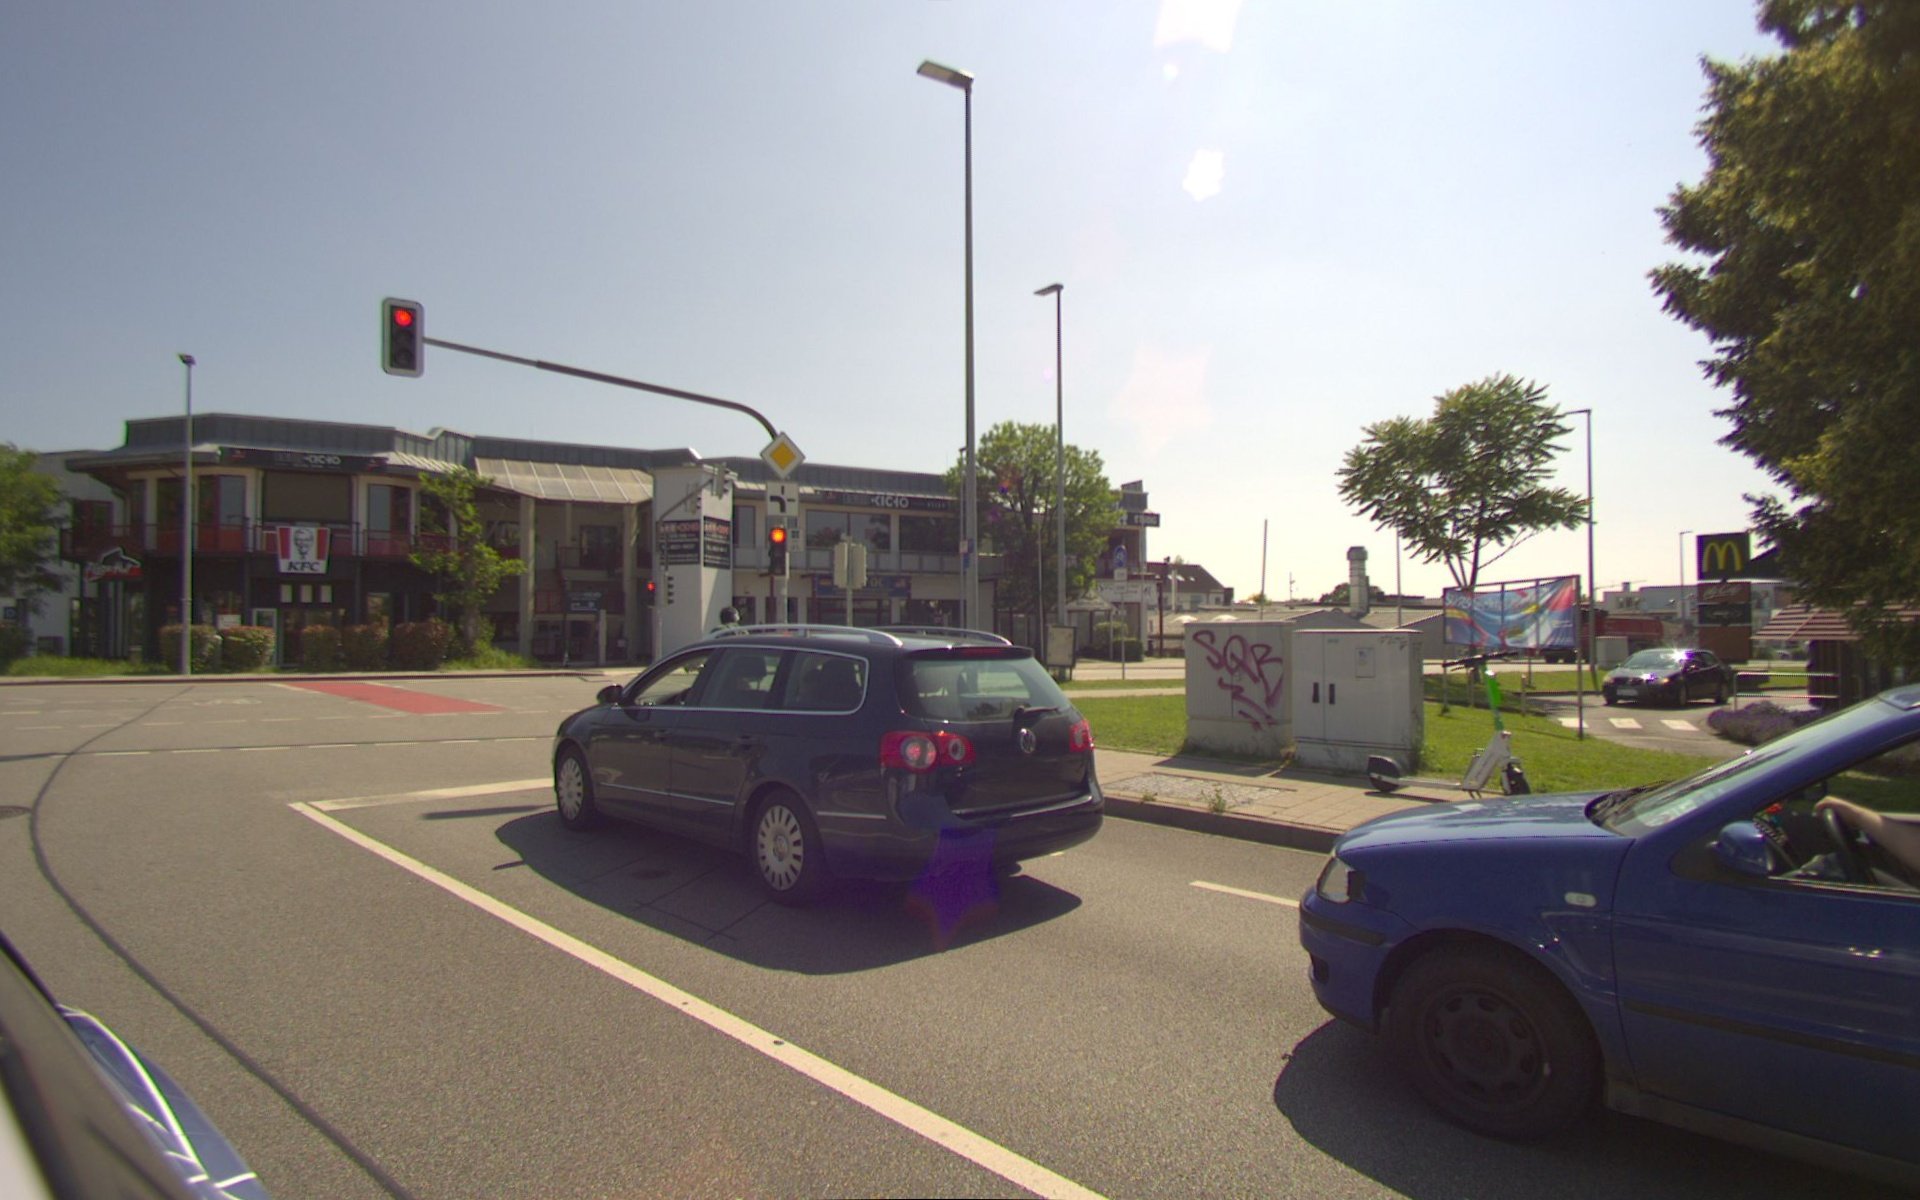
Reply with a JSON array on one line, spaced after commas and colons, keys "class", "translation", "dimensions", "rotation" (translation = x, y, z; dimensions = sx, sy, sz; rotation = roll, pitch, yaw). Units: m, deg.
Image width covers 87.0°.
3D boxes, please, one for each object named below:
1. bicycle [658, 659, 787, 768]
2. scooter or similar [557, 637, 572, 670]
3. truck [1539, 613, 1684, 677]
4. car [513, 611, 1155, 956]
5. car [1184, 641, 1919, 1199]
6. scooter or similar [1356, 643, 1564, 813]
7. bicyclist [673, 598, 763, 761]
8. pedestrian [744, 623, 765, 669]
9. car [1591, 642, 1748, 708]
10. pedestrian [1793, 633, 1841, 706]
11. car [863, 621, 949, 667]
[{"class": "bicycle", "translation": [-2.759, 1.259, 11.653], "dimensions": [0.688, 1.113, 1.757], "rotation": [2, -3, -41]}, {"class": "scooter or similar", "translation": [-14.292, 1.922, 36.556], "dimensions": [0.492, 1.132, 1.509], "rotation": [1, -2, -22]}, {"class": "truck", "translation": [37.589, 2.551, 58.281], "dimensions": [9.011, 3.412, 3.324], "rotation": [1, -3, -31]}, {"class": "car", "translation": [-1.180, 0.890, 6.766], "dimensions": [1.759, 1.508, 4.725], "rotation": [2, -3, -44]}, {"class": "car", "translation": [2.787, 0.813, 2.737], "dimensions": [4.001, 1.391, 1.637], "rotation": [-2, -3, 44]}, {"class": "scooter or similar", "translation": [3.845, 0.936, 7.870], "dimensions": [0.465, 1.193, 1.368], "rotation": [2, -3, -38]}, {"class": "bicyclist", "translation": [-2.804, 0.898, 11.719], "dimensions": [0.701, 1.802, 0.810], "rotation": [2, -3, -41]}, {"class": "pedestrian", "translation": [-7.514, 1.689, 37.051], "dimensions": [0.722, 1.658, 0.843], "rotation": [0, -2, -10]}, {"class": "car", "translation": [18.344, 1.885, 26.131], "dimensions": [4.117, 1.564, 1.871], "rotation": [1, -3, -33]}, {"class": "pedestrian", "translation": [21.422, 1.716, 25.298], "dimensions": [0.877, 1.771, 0.640], "rotation": [2, -3, -34]}, {"class": "car", "translation": [-2.388, 1.901, 43.617], "dimensions": [1.777, 1.870, 4.673], "rotation": [1, -3, -30]}]
